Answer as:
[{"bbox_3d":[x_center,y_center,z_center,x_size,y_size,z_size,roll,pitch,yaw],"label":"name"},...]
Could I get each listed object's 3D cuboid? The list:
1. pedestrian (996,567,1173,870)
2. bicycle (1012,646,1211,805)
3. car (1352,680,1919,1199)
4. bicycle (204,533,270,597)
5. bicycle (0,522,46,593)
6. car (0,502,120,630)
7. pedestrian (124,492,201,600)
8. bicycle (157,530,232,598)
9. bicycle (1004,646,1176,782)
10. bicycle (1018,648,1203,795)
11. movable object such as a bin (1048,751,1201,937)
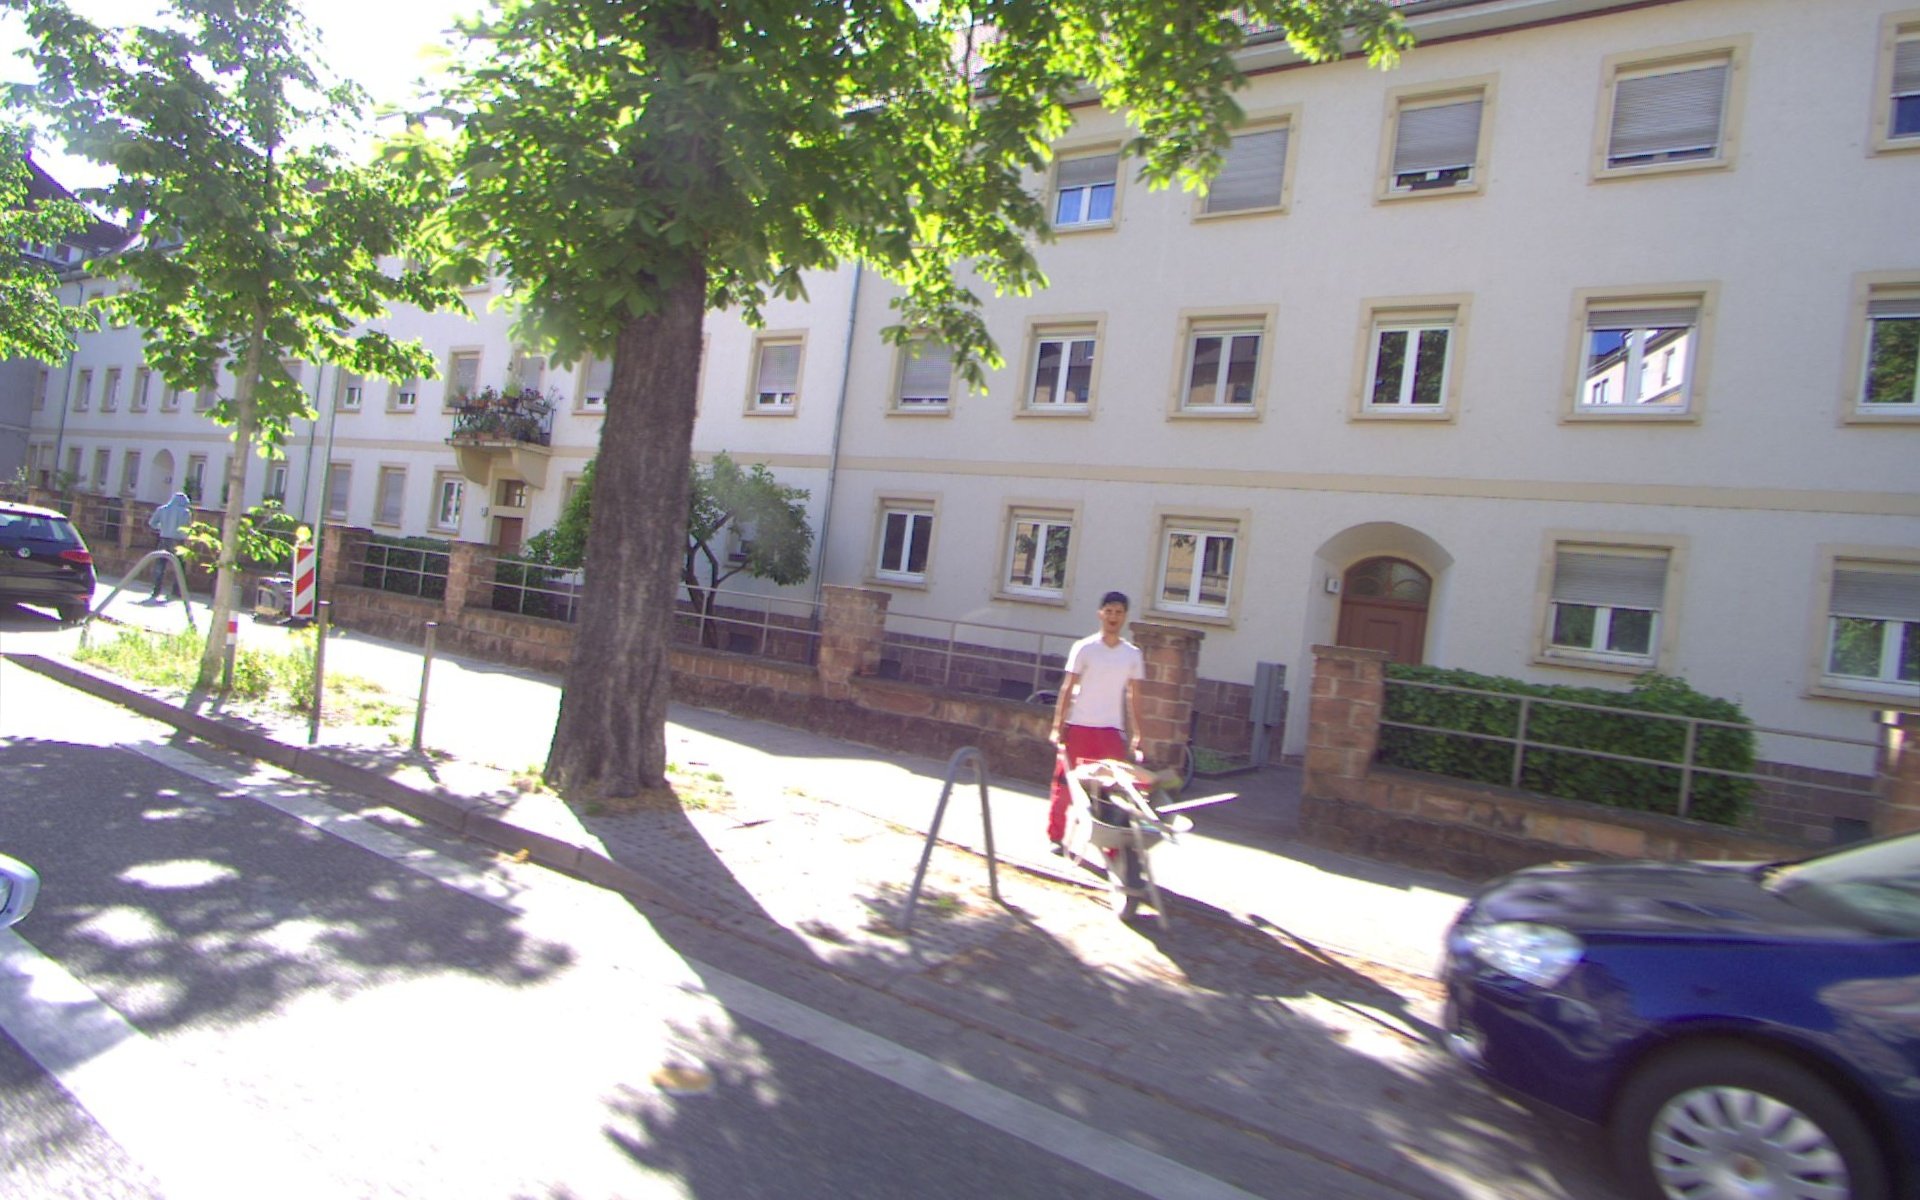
[{"bbox_3d":[0.784,0.740,6.555,0.896,1.794,0.600,6,2,1],"label":"pedestrian"},{"bbox_3d":[1.449,1.178,9.773,1.712,1.235,0.543,7,0,32],"label":"bicycle"},{"bbox_3d":[3.569,1.282,2.945,4.174,1.491,1.723,7,0,30],"label":"car"},{"bbox_3d":[-15.224,-0.747,21.176,1.548,1.165,0.442,7,-2,32],"label":"bicycle"},{"bbox_3d":[-15.801,-0.746,15.929,0.610,1.080,1.797,7,0,27],"label":"bicycle"},{"bbox_3d":[-13.375,-0.622,13.623,3.977,1.481,1.790,7,-1,31],"label":"car"},{"bbox_3d":[-14.013,-0.937,17.698,0.757,1.743,0.575,9,-2,-29],"label":"pedestrian"},{"bbox_3d":[-15.532,-0.740,20.400,1.885,1.166,0.448,7,-1,32],"label":"bicycle"},{"bbox_3d":[1.444,1.243,11.305,1.712,1.235,0.543,7,0,32],"label":"bicycle"},{"bbox_3d":[1.559,1.239,10.540,1.712,1.235,0.543,7,0,32],"label":"bicycle"},{"bbox_3d":[0.897,1.341,5.697,0.655,0.753,0.923,6,1,1],"label":"movable object such as a bin"}]
